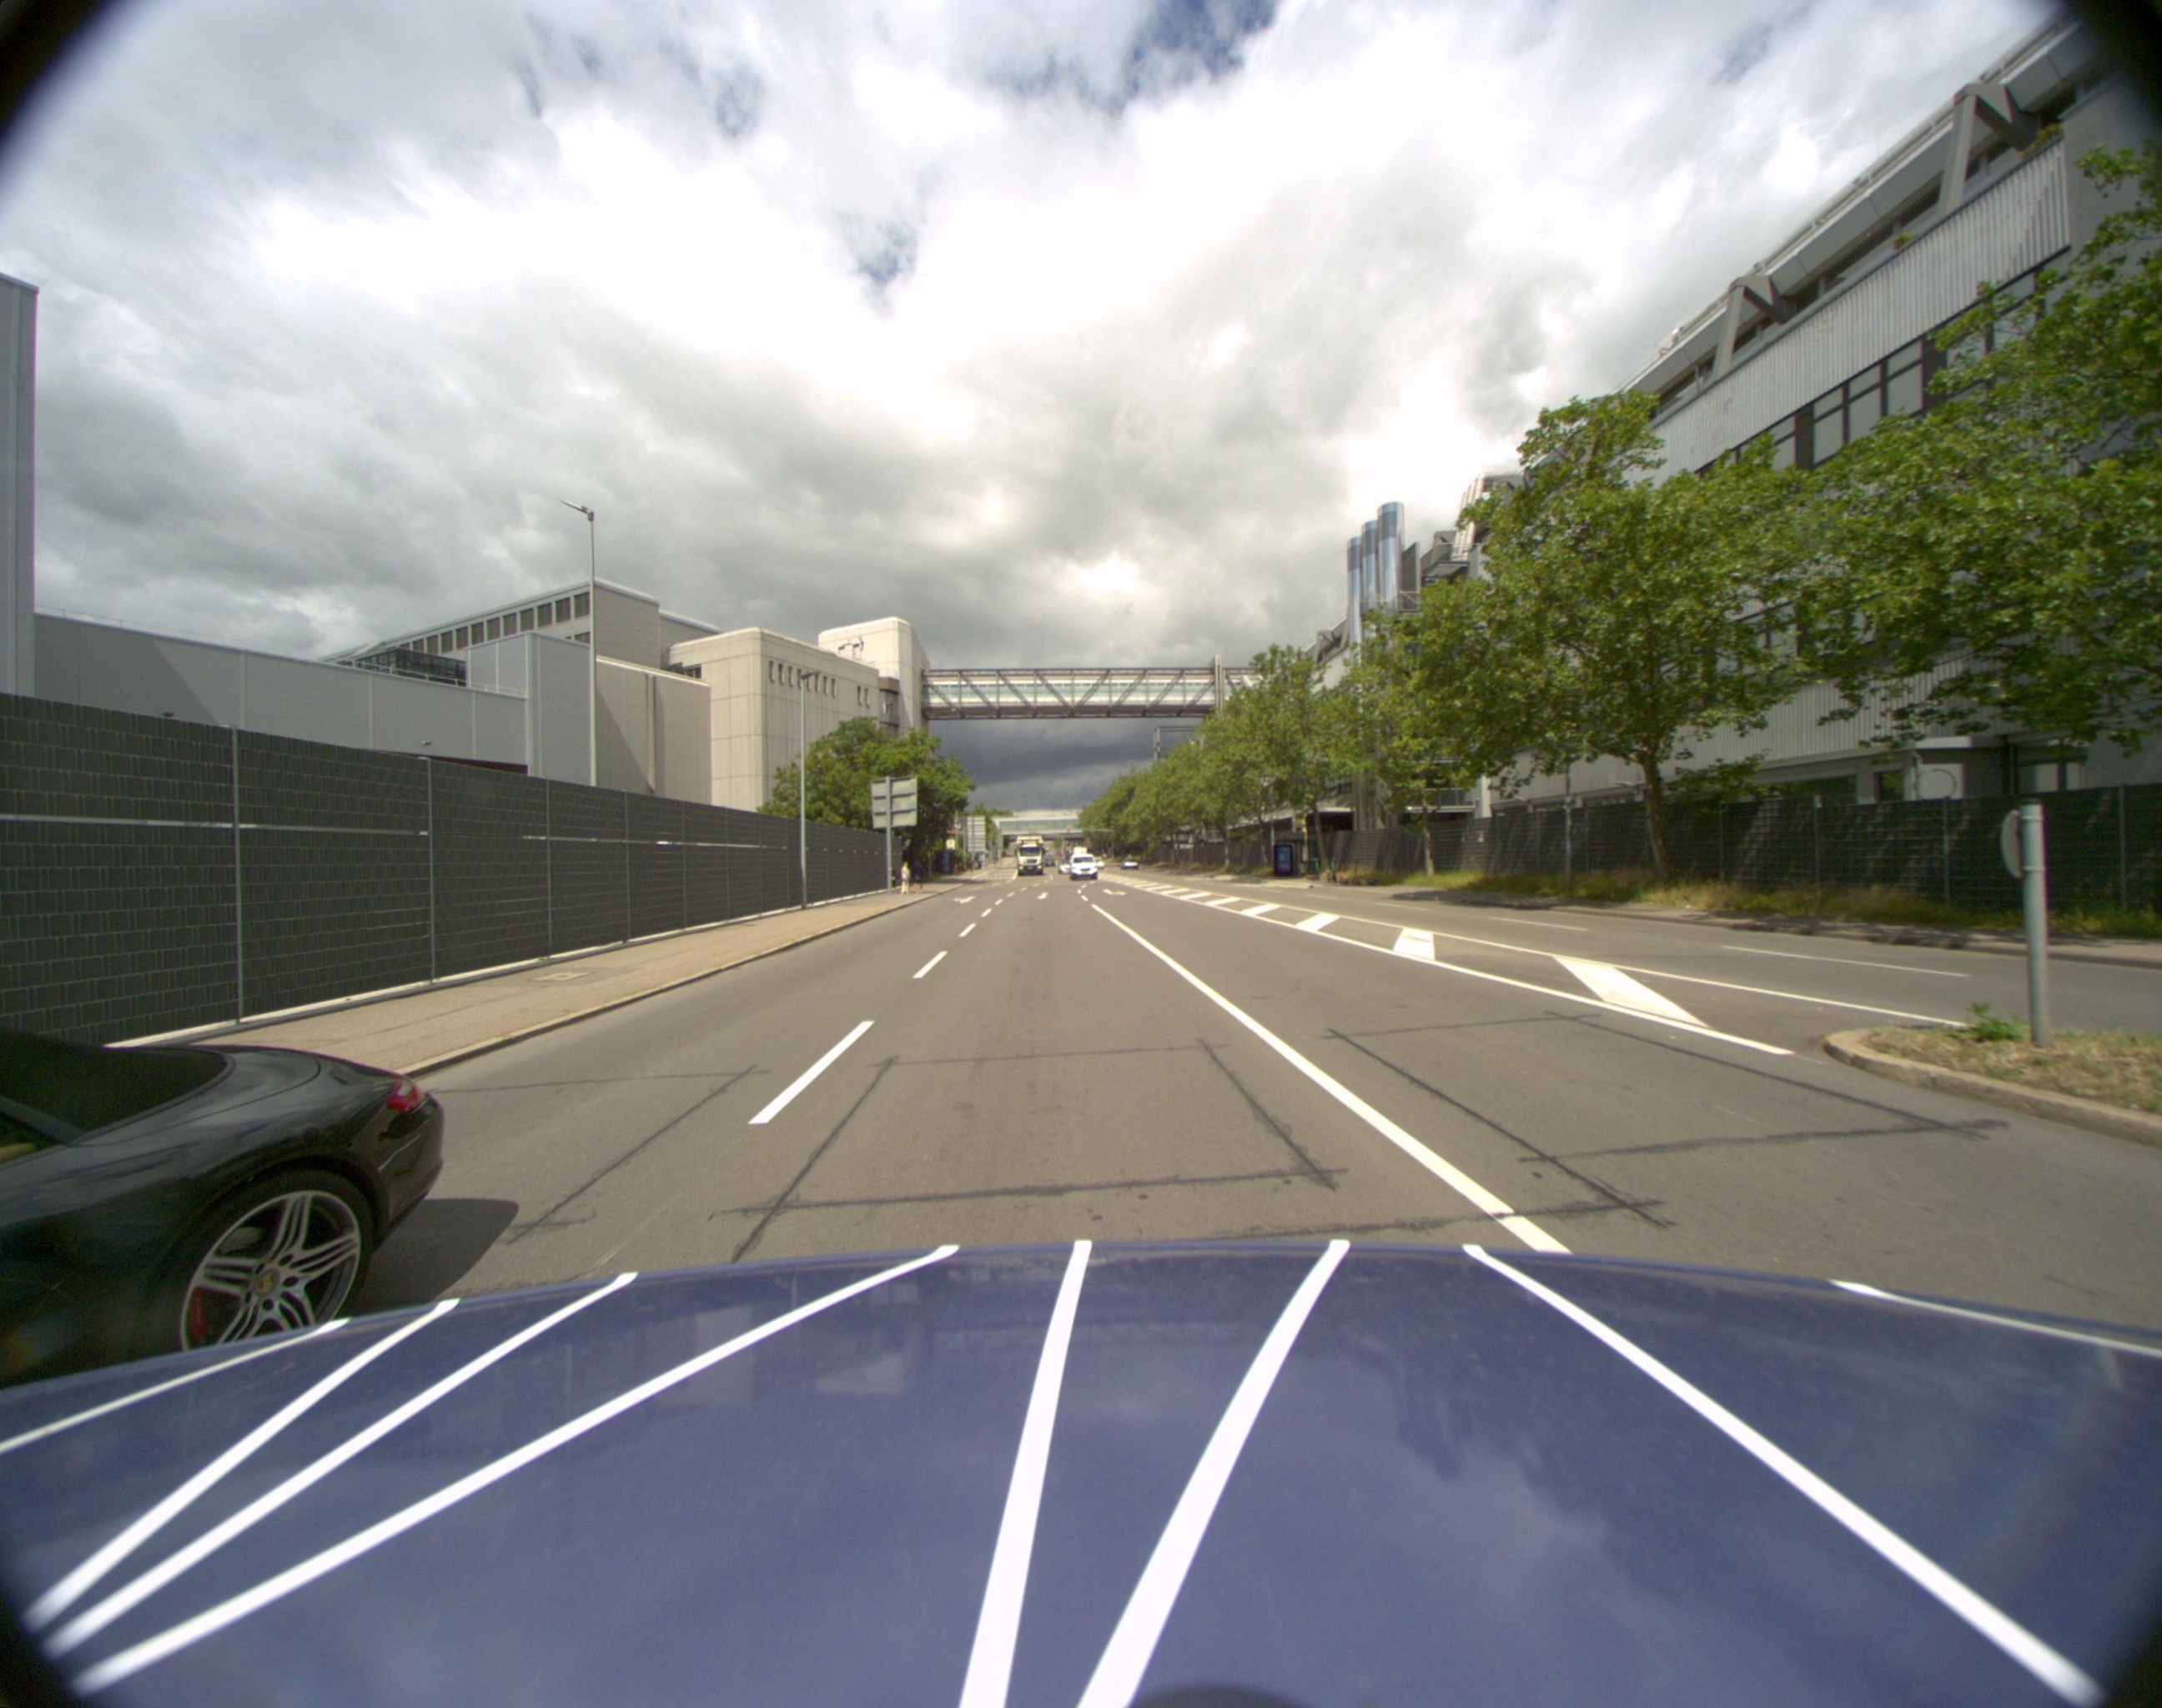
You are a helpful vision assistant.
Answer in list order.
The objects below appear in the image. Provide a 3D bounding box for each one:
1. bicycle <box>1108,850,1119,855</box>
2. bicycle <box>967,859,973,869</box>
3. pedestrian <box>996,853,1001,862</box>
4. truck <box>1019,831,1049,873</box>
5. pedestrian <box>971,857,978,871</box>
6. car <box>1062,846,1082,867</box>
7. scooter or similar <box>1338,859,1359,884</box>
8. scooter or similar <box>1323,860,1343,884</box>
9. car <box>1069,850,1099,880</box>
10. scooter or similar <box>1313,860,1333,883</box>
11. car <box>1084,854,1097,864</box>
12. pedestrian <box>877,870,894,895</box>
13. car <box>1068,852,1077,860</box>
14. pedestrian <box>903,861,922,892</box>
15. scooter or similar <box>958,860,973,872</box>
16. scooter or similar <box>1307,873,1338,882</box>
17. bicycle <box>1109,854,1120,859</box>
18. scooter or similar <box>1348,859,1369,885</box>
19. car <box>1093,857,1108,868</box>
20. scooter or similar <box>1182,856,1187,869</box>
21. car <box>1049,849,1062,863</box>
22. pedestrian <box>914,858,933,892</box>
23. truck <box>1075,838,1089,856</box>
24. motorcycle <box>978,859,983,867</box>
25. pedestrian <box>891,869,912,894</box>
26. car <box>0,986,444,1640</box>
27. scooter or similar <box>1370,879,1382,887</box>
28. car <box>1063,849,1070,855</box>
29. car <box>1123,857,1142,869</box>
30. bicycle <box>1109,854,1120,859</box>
[{"bbox_3d":[7.744,-0.276,180.673,2.414,1.079,0.615,-2,1,-4],"label":"bicycle"},{"bbox_3d":[-13.980,1.207,95.863,0.444,1.173,2.467,-2,1,-3],"label":"bicycle"},{"bbox_3d":[-16.640,0.633,153.219,0.729,1.756,1.015,-2,1,-3],"label":"pedestrian"},{"bbox_3d":[-4.757,-0.242,76.858,2.714,3.863,10.736,-2,1,-4],"label":"truck"},{"bbox_3d":[-12.653,1.141,90.373,0.812,1.635,0.997,0,1,-5],"label":"pedestrian"},{"bbox_3d":[-0.922,0.189,76.995,1.872,1.944,4.709,-3,1,-2],"label":"car"},{"bbox_3d":[13.769,0.911,39.115,0.524,1.227,1.317,-4,0,-1],"label":"scooter or similar"},{"bbox_3d":[13.695,0.982,41.320,0.524,1.227,1.317,-4,0,-3],"label":"scooter or similar"},{"bbox_3d":[0.166,0.805,54.342,1.825,2.001,4.391,-1,-1,-4],"label":"car"},{"bbox_3d":[13.648,0.985,42.846,0.524,1.227,1.317,-4,0,-3],"label":"scooter or similar"},{"bbox_3d":[1.495,0.784,122.137,1.745,1.571,4.265,1,0,-3],"label":"car"},{"bbox_3d":[-9.714,1.426,37.772,0.598,1.200,0.716,-2,1,0],"label":"pedestrian"},{"bbox_3d":[-2.155,0.471,184.327,1.741,1.674,4.211,-2,1,-6],"label":"car"},{"bbox_3d":[-8.919,1.159,40.177,0.797,1.588,0.731,-2,1,-5],"label":"pedestrian"},{"bbox_3d":[-11.566,1.162,76.205,0.542,1.156,1.795,0,0,24],"label":"scooter or similar"},{"bbox_3d":[14.132,1.387,44.363,1.361,0.378,1.493,-5,-1,32],"label":"scooter or similar"},{"bbox_3d":[7.644,0.583,172.800,2.561,1.079,0.616,-2,1,4],"label":"bicycle"},{"bbox_3d":[13.772,0.891,37.732,0.524,1.227,1.318,-4,0,4],"label":"scooter or similar"},{"bbox_3d":[2.542,1.119,102.173,1.696,1.406,4.144,1,0,-3],"label":"car"},{"bbox_3d":[11.068,0.881,81.345,0.304,1.395,1.235,-2,1,-3],"label":"scooter or similar"},{"bbox_3d":[-4.003,0.316,120.346,1.872,1.944,4.709,-3,1,-2],"label":"car"},{"bbox_3d":[-8.112,1.070,39.108,0.797,1.711,0.731,-2,1,-7],"label":"pedestrian"},{"bbox_3d":[0.167,-1.338,142.940,2.459,3.111,7.241,-2,1,-1],"label":"truck"},{"bbox_3d":[-14.115,1.297,107.028,0.592,1.061,2.036,0,0,-3],"label":"motorcycle"},{"bbox_3d":[-8.968,1.372,38.073,0.759,1.142,0.971,-2,1,0],"label":"pedestrian"},{"bbox_3d":[-3.454,1.176,0.937,1.838,1.317,4.001,-3,-1,2],"label":"car"},{"bbox_3d":[14.344,1.404,36.960,0.538,0.320,1.274,-2,-1,22],"label":"scooter or similar"},{"bbox_3d":[-3.883,-0.597,198.298,1.563,1.496,3.610,1,0,-6],"label":"car"},{"bbox_3d":[6.378,1.100,94.935,1.883,1.496,4.189,1,0,-3],"label":"car"},{"bbox_3d":[7.584,0.566,171.649,2.562,1.079,0.616,-2,1,2],"label":"bicycle"}]
